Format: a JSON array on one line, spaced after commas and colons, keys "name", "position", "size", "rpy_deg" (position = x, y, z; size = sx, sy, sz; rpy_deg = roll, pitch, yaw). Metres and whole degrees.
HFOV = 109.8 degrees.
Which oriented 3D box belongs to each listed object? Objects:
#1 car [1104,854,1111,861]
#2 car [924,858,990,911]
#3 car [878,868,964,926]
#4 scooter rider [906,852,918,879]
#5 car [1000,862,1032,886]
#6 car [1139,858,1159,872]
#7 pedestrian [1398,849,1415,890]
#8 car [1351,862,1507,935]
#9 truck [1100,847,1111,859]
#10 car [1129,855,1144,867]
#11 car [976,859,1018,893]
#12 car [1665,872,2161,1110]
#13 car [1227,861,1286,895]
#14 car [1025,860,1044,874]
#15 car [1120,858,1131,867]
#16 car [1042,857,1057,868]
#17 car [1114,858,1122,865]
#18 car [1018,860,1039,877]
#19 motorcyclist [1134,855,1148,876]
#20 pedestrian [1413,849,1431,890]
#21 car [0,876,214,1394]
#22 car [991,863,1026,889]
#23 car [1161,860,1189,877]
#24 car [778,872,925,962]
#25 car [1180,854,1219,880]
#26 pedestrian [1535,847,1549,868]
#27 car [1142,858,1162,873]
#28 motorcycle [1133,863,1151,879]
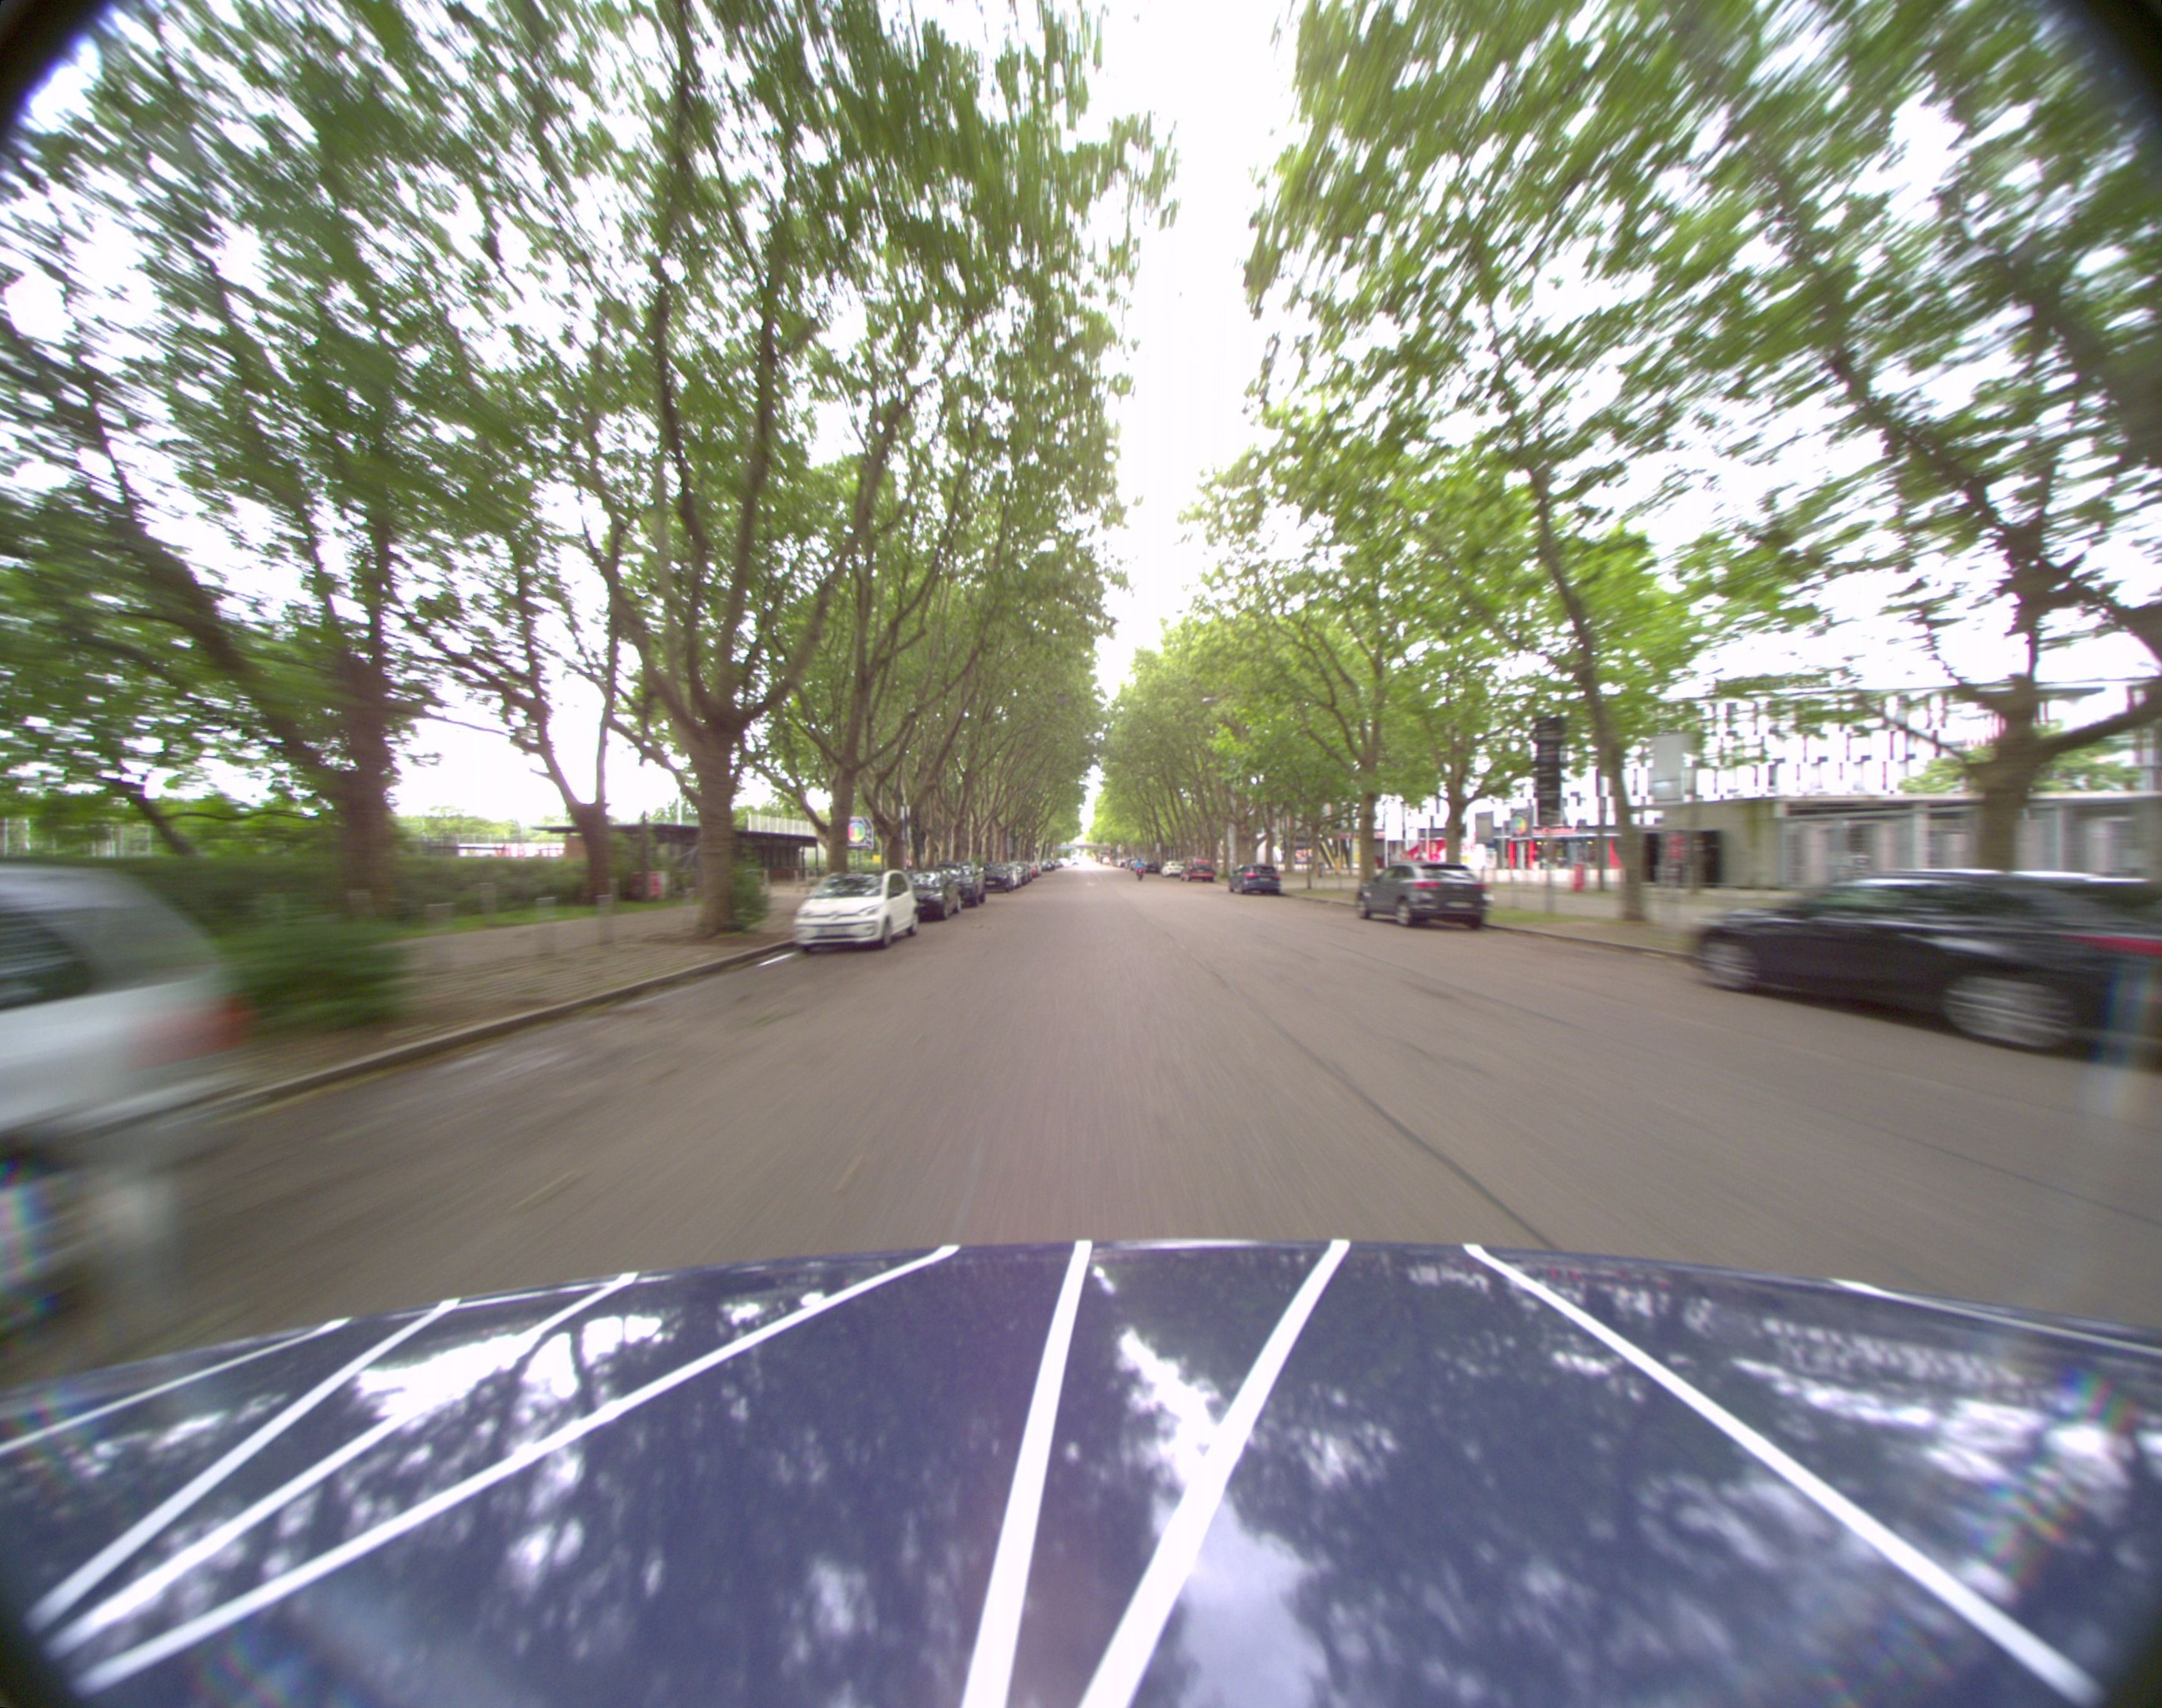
[{"name": "car", "position": [7.929, 1.147, 225.904], "size": [2.064, 1.950, 5.466], "rpy_deg": [0, -1, 1]}, {"name": "car", "position": [-4.441, 1.037, 27.854], "size": [1.712, 1.688, 4.630], "rpy_deg": [-2, 0, -2]}, {"name": "car", "position": [-4.524, 1.161, 22.105], "size": [1.712, 1.407, 4.360], "rpy_deg": [-2, 0, -2]}, {"name": "scooter rider", "position": [-11.613, 0.798, 52.212], "size": [0.678, 1.789, 0.587], "rpy_deg": [1, 0, 0]}, {"name": "car", "position": [-4.369, 1.312, 51.648], "size": [1.672, 1.500, 4.353], "rpy_deg": [-3, 0, 0]}, {"name": "car", "position": [8.178, 1.307, 91.434], "size": [1.942, 1.633, 4.928], "rpy_deg": [2, 0, 1]}, {"name": "pedestrian", "position": [14.050, 0.650, 32.798], "size": [0.577, 1.759, 0.768], "rpy_deg": [-1, 0, 15]}, {"name": "car", "position": [8.218, 0.980, 18.403], "size": [1.883, 1.518, 4.151], "rpy_deg": [0, 0, 0]}, {"name": "truck", "position": [7.742, -0.253, 240.939], "size": [2.917, 3.846, 9.466], "rpy_deg": [1, 0, 0]}, {"name": "car", "position": [8.823, 1.132, 121.276], "size": [1.900, 1.785, 4.612], "rpy_deg": [2, 0, -1]}, {"name": "car", "position": [-4.469, 1.147, 40.959], "size": [1.782, 1.663, 4.637], "rpy_deg": [-1, 0, -1]}, {"name": "car", "position": [8.086, 0.960, 7.084], "size": [1.831, 1.457, 4.628], "rpy_deg": [0, 0, 2]}, {"name": "car", "position": [8.277, 1.098, 36.191], "size": [1.729, 1.477, 4.574], "rpy_deg": [-1, 0, 0]}, {"name": "car", "position": [-4.829, 1.326, 79.164], "size": [1.739, 1.430, 4.123], "rpy_deg": [-1, 0, 0]}, {"name": "car", "position": [8.002, 1.525, 136.106], "size": [1.822, 1.584, 4.345], "rpy_deg": [2, 0, 2]}, {"name": "car", "position": [-4.396, 1.170, 106.703], "size": [1.999, 1.469, 4.371], "rpy_deg": [-2, 0, 0]}, {"name": "car", "position": [8.200, 1.612, 168.842], "size": [1.698, 1.354, 4.001], "rpy_deg": [4, 0, 2]}, {"name": "car", "position": [-4.758, 1.285, 68.979], "size": [1.721, 1.430, 4.627], "rpy_deg": [-3, 0, -4]}, {"name": "motorcyclist", "position": [4.374, 0.838, 55.376], "size": [0.872, 1.471, 1.265], "rpy_deg": [-1, 0, -4]}, {"name": "pedestrian", "position": [14.710, 0.656, 32.800], "size": [0.575, 1.732, 0.768], "rpy_deg": [-1, 0, 15]}, {"name": "car", "position": [-4.610, 0.972, 0.923], "size": [1.908, 1.728, 4.506], "rpy_deg": [-1, 0, 0]}, {"name": "car", "position": [-4.379, 1.320, 46.150], "size": [1.620, 1.433, 3.710], "rpy_deg": [-3, 0, 1]}, {"name": "car", "position": [8.353, 1.239, 67.994], "size": [1.909, 1.394, 4.751], "rpy_deg": [2, 0, 0]}, {"name": "car", "position": [-4.416, 1.155, 15.240], "size": [1.712, 1.419, 3.889], "rpy_deg": [-2, 0, 0]}, {"name": "car", "position": [8.363, 0.893, 54.061], "size": [1.954, 1.740, 4.638], "rpy_deg": [1, 0, -1]}, {"name": "pedestrian", "position": [37.293, 0.275, 61.480], "size": [0.726, 1.681, 0.808], "rpy_deg": [-1, 0, 3]}, {"name": "car", "position": [7.981, 1.279, 85.878], "size": [1.838, 1.485, 4.442], "rpy_deg": [2, 0, 0]}, {"name": "motorcycle", "position": [4.399, 1.204, 55.424], "size": [0.875, 1.073, 3.052], "rpy_deg": [-1, 0, -3]}]
